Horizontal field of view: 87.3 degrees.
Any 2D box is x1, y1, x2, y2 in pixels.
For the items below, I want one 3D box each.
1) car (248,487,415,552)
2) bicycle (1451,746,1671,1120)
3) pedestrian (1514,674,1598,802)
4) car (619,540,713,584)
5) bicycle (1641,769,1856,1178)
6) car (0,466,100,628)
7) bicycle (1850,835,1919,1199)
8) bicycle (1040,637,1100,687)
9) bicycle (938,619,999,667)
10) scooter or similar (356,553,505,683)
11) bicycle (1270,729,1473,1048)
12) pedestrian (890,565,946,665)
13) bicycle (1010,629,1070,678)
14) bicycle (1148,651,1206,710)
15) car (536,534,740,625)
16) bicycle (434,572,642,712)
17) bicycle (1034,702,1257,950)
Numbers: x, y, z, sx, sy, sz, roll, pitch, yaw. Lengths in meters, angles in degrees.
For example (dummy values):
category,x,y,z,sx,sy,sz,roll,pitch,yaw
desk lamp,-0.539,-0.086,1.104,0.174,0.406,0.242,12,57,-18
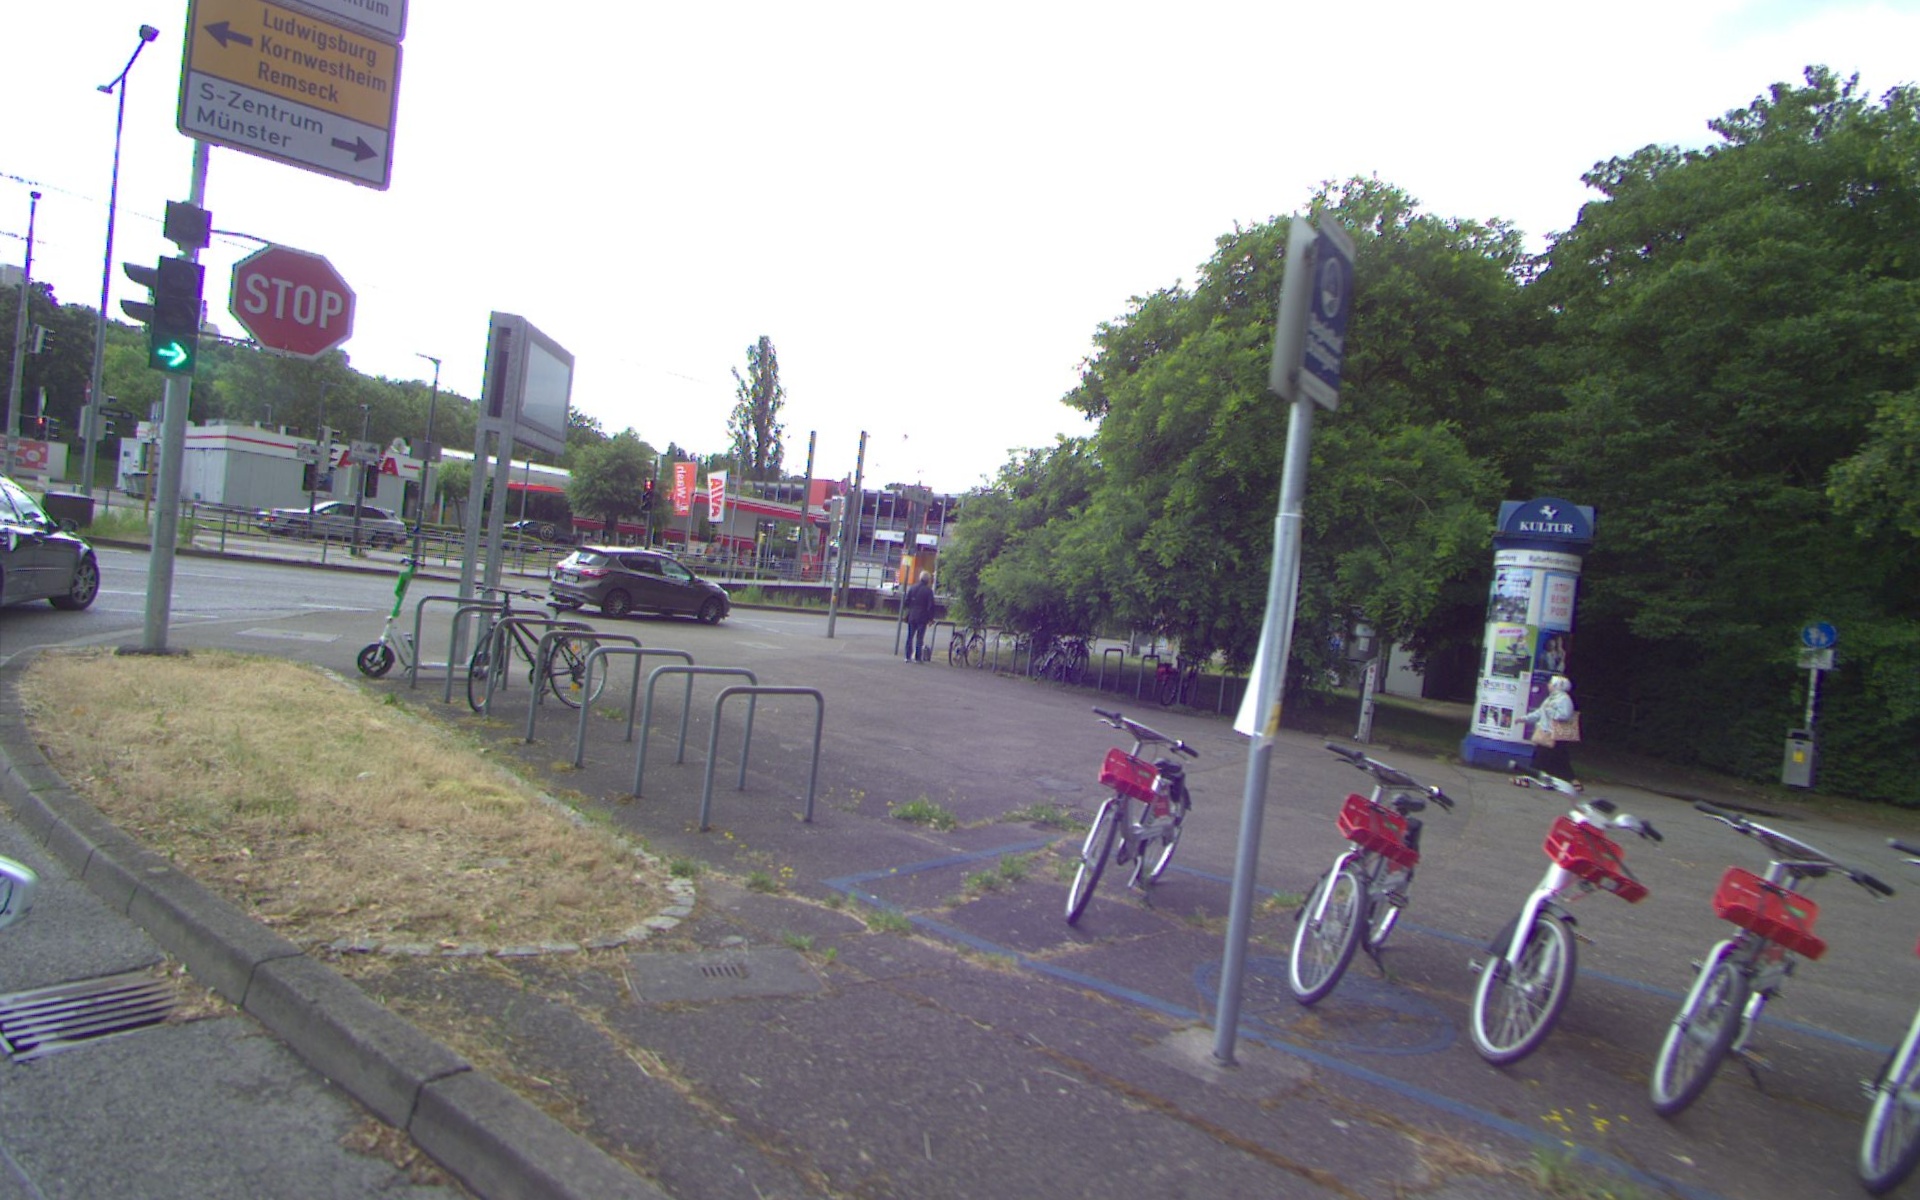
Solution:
category,x,y,z,sx,sy,sz,roll,pitch,yaw
car,-23.485,-2.979,37.735,1.988,1.621,4.912,8,1,43
bicycle,2.646,1.303,4.440,0.570,1.125,1.780,7,0,32
pedestrian,7.971,1.820,13.454,0.765,1.551,0.511,8,2,34
car,-14.236,-1.811,48.838,1.695,1.549,4.023,8,1,40
bicycle,3.126,1.334,4.051,0.448,1.125,1.778,7,0,37
car,-10.129,-0.632,9.645,1.807,1.528,4.539,7,1,-28
bicycle,3.666,1.418,3.560,1.770,1.125,0.421,6,1,-40
bicycle,2.204,1.237,19.957,0.369,0.909,1.717,8,1,32
bicycle,0.194,0.920,21.159,0.353,0.909,1.717,8,1,32
scooter or similar,-5.212,0.202,9.955,0.289,1.184,1.180,9,2,39
bicycle,2.056,1.257,4.876,0.532,1.124,1.780,6,-1,32
pedestrian,-0.820,0.290,19.830,0.762,1.842,0.689,7,2,9
bicycle,1.643,1.073,20.410,0.369,0.910,1.716,8,3,32
bicycle,4.020,1.482,18.549,0.369,1.004,1.717,8,1,32
car,-7.202,-0.412,22.886,1.704,1.549,4.137,8,1,33
bicycle,-3.835,0.409,9.278,0.471,1.125,1.691,10,2,32
bicycle,1.145,1.200,5.837,0.544,1.124,1.781,7,0,32
